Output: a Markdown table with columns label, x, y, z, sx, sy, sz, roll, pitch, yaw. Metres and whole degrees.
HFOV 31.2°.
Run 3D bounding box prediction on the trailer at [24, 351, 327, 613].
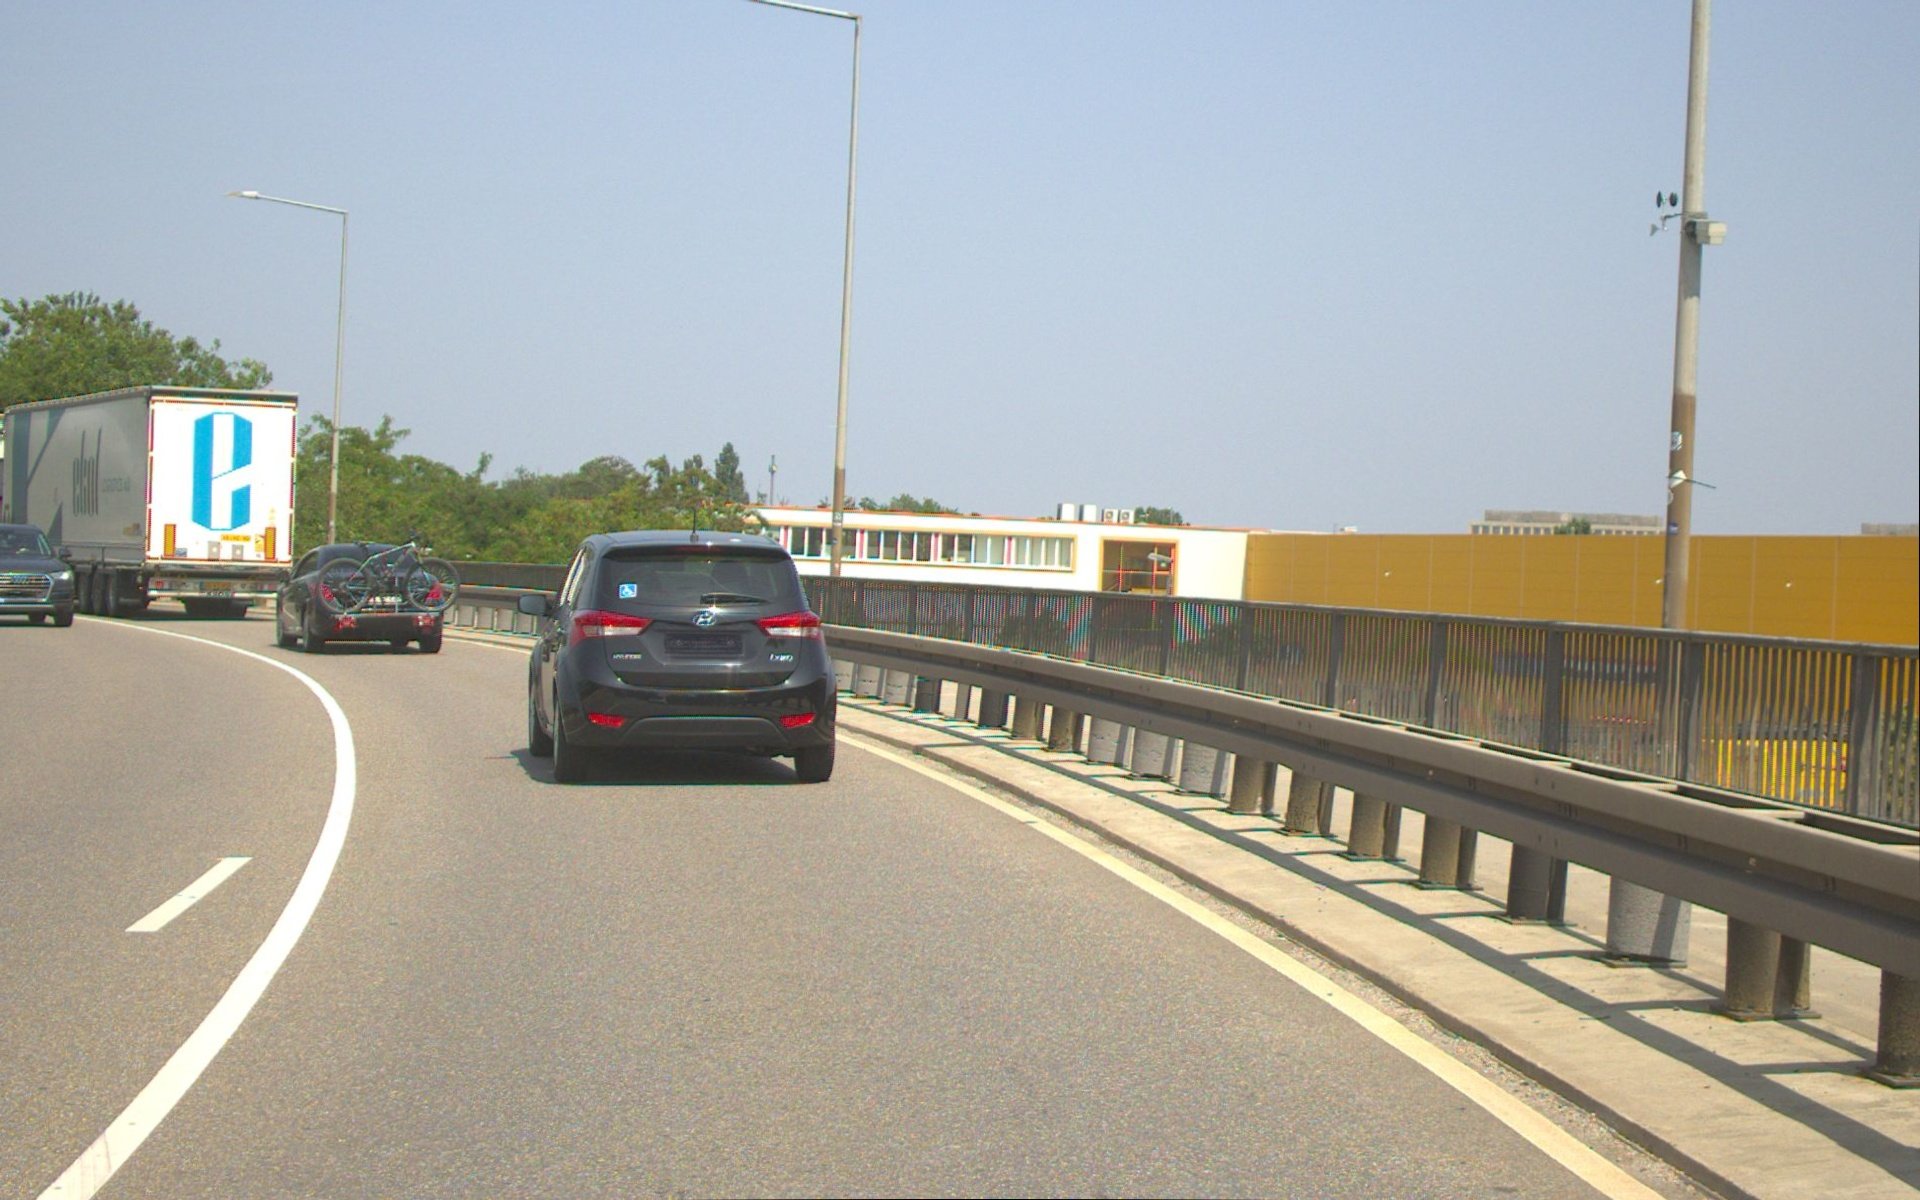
| label | x | y | z | sx | sy | sz | roll | pitch | yaw |
| --- | --- | --- | --- | --- | --- | --- | --- | --- | --- |
| trailer | -14.770 | -2.161 | 63.837 | 3.569 | 4.369 | 11.444 | 1 | 1 | -22 |

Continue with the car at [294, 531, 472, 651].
| label | x | y | z | sx | sy | sz | roll | pitch | yaw |
| --- | --- | --- | --- | --- | --- | --- | --- | --- | --- |
| car | -7.570 | -0.145 | 44.823 | 2.011 | 1.424 | 3.778 | 1 | 1 | -13 |

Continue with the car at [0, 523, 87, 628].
| label | x | y | z | sx | sy | sz | roll | pitch | yaw |
| --- | --- | --- | --- | --- | --- | --- | --- | --- | --- |
| car | -15.636 | -0.436 | 56.246 | 1.841 | 1.630 | 4.234 | 0 | 2 | -26 |

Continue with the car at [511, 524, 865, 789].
| label | x | y | z | sx | sy | sz | roll | pitch | yaw |
| --- | --- | --- | --- | --- | --- | --- | --- | --- | --- |
| car | -1.903 | 0.312 | 22.929 | 1.921 | 1.568 | 3.893 | 1 | 1 | -11 |

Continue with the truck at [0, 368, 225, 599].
| label | x | y | z | sx | sy | sz | roll | pitch | yaw |
| --- | --- | --- | --- | --- | --- | --- | --- | --- | --- |
| truck | -17.602 | -2.361 | 70.226 | 3.572 | 4.425 | 6.517 | 1 | 1 | -25 |
